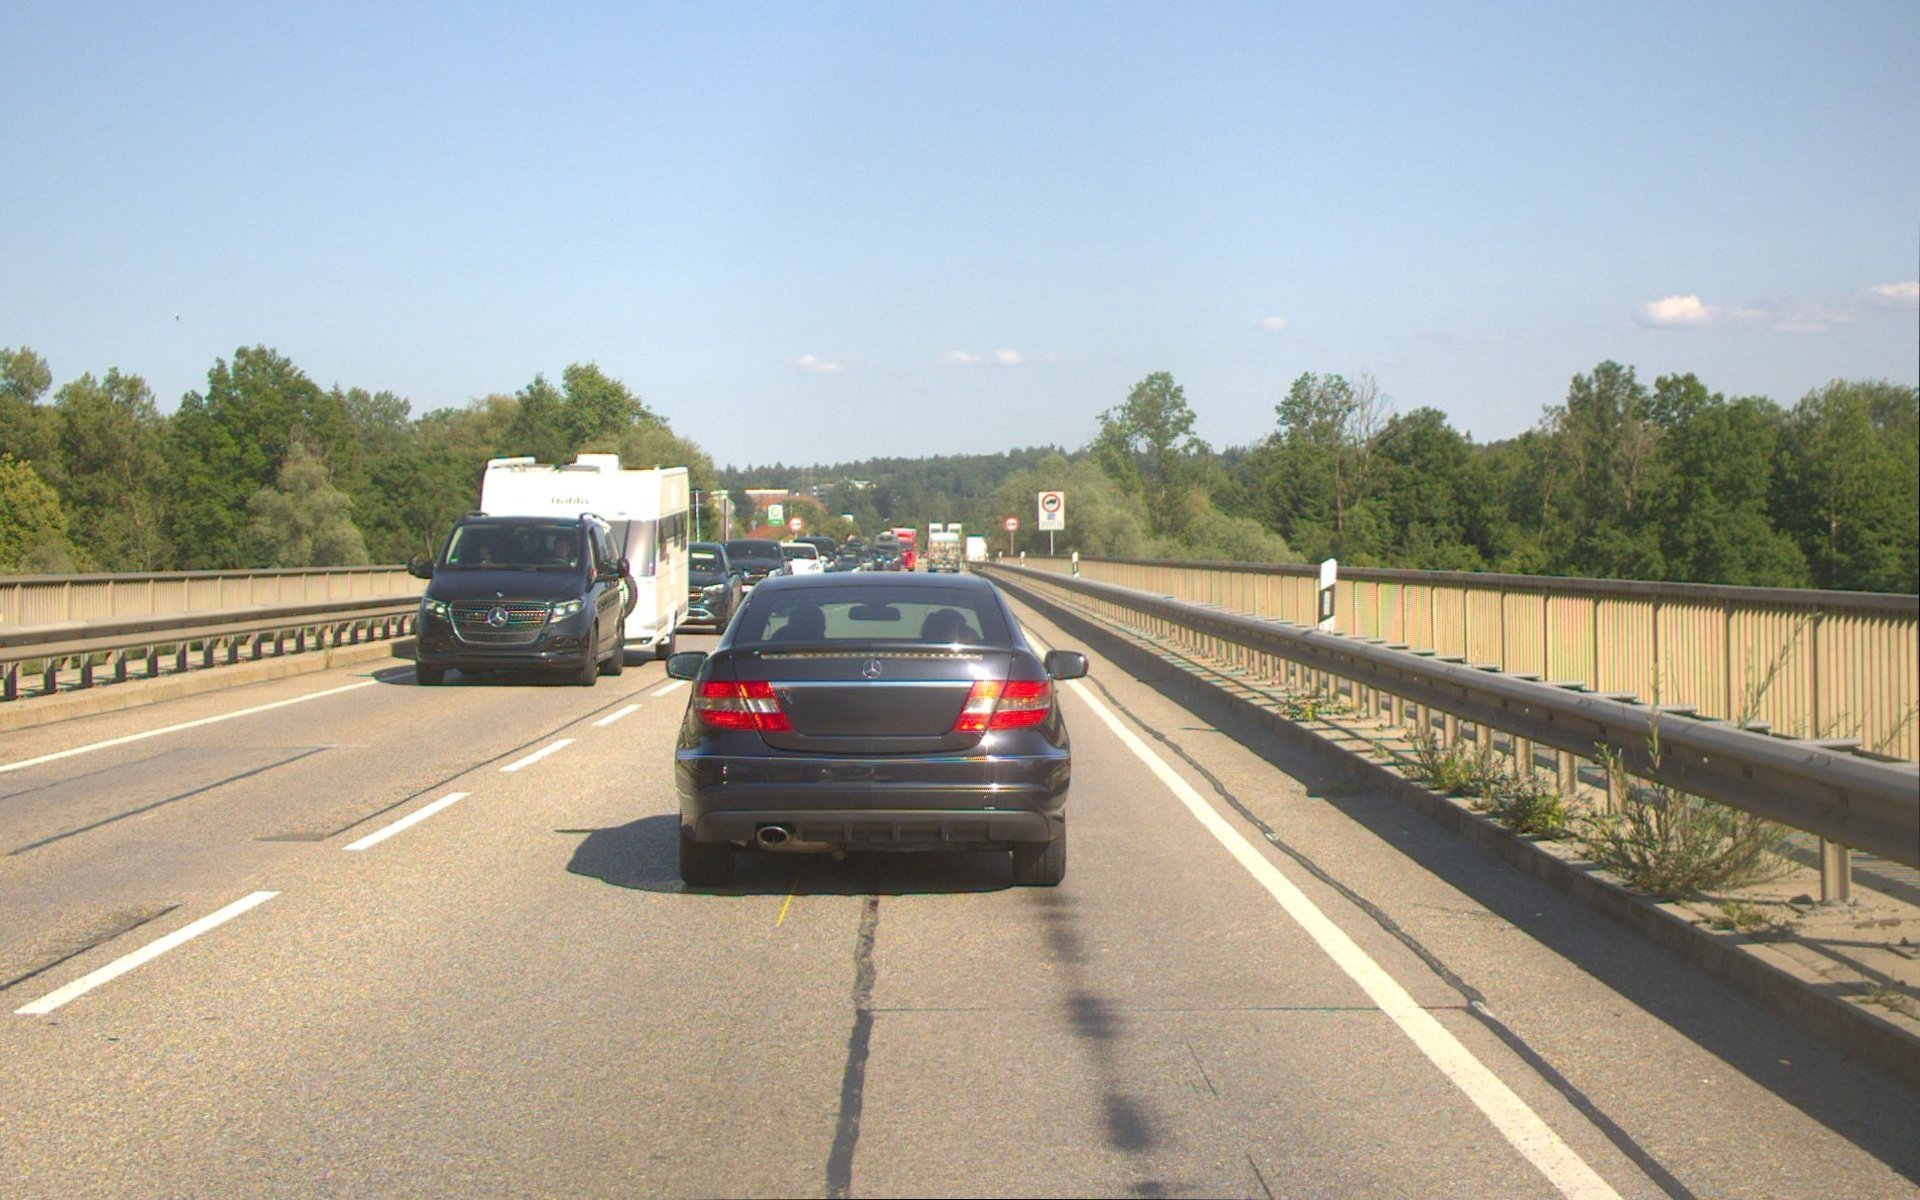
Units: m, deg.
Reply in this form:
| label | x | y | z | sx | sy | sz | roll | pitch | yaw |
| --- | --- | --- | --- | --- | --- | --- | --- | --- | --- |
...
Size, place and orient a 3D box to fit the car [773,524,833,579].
| label | x | y | z | sx | sy | sz | roll | pitch | yaw |
| --- | --- | --- | --- | --- | --- | --- | --- | --- | --- |
| car | -5.651 | -1.758 | 123.459 | 2.037 | 1.867 | 5.071 | 1 | 1 | -3 |

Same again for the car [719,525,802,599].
| label | x | y | z | sx | sy | sz | roll | pitch | yaw |
| --- | --- | --- | --- | --- | --- | --- | --- | --- | --- |
| car | -4.919 | -0.957 | 84.807 | 1.949 | 1.688 | 4.477 | 2 | 1 | -3 |

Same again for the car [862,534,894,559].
| label | x | y | z | sx | sy | sz | roll | pitch | yaw |
| --- | --- | --- | --- | --- | --- | --- | --- | --- | --- |
| car | -5.130 | -3.340 | 214.682 | 1.806 | 1.572 | 4.202 | 0 | 1 | -4 |

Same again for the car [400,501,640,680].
| label | x | y | z | sx | sy | sz | roll | pitch | yaw |
| --- | --- | --- | --- | --- | --- | --- | --- | --- | --- |
| car | -4.852 | -0.144 | 38.596 | 1.983 | 1.847 | 5.008 | -1 | 1 | 0 |

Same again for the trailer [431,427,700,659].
| label | x | y | z | sx | sy | sz | roll | pitch | yaw |
| --- | --- | --- | --- | --- | --- | --- | --- | --- | --- |
| trailer | -5.022 | -0.766 | 45.073 | 2.555 | 2.728 | 8.063 | 1 | 1 | 0 |

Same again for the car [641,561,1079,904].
| label | x | y | z | sx | sy | sz | roll | pitch | yaw |
| --- | --- | --- | --- | --- | --- | --- | --- | --- | --- |
| car | -0.415 | 0.521 | 16.146 | 1.793 | 1.371 | 4.000 | 0 | 1 | 0 |

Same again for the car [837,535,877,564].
| label | x | y | z | sx | sy | sz | roll | pitch | yaw |
| --- | --- | --- | --- | --- | --- | --- | --- | --- | --- |
| car | -5.180 | -2.520 | 171.761 | 1.866 | 1.439 | 4.457 | 0 | 1 | -3 |

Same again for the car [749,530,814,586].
| label | x | y | z | sx | sy | sz | roll | pitch | yaw |
| --- | --- | --- | --- | --- | --- | --- | --- | --- | --- |
| car | -5.692 | -1.361 | 109.399 | 1.983 | 1.645 | 4.599 | 1 | 1 | -3 |

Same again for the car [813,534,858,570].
| label | x | y | z | sx | sy | sz | roll | pitch | yaw |
| --- | --- | --- | --- | --- | --- | --- | --- | --- | --- |
| car | -5.243 | -2.022 | 144.205 | 1.765 | 1.442 | 4.457 | 0 | 1 | -3 |

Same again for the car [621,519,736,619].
| label | x | y | z | sx | sy | sz | roll | pitch | yaw |
| --- | --- | --- | --- | --- | --- | --- | --- | --- | --- |
| car | -4.930 | -0.584 | 60.689 | 1.802 | 1.655 | 4.434 | 1 | 1 | -2 |
